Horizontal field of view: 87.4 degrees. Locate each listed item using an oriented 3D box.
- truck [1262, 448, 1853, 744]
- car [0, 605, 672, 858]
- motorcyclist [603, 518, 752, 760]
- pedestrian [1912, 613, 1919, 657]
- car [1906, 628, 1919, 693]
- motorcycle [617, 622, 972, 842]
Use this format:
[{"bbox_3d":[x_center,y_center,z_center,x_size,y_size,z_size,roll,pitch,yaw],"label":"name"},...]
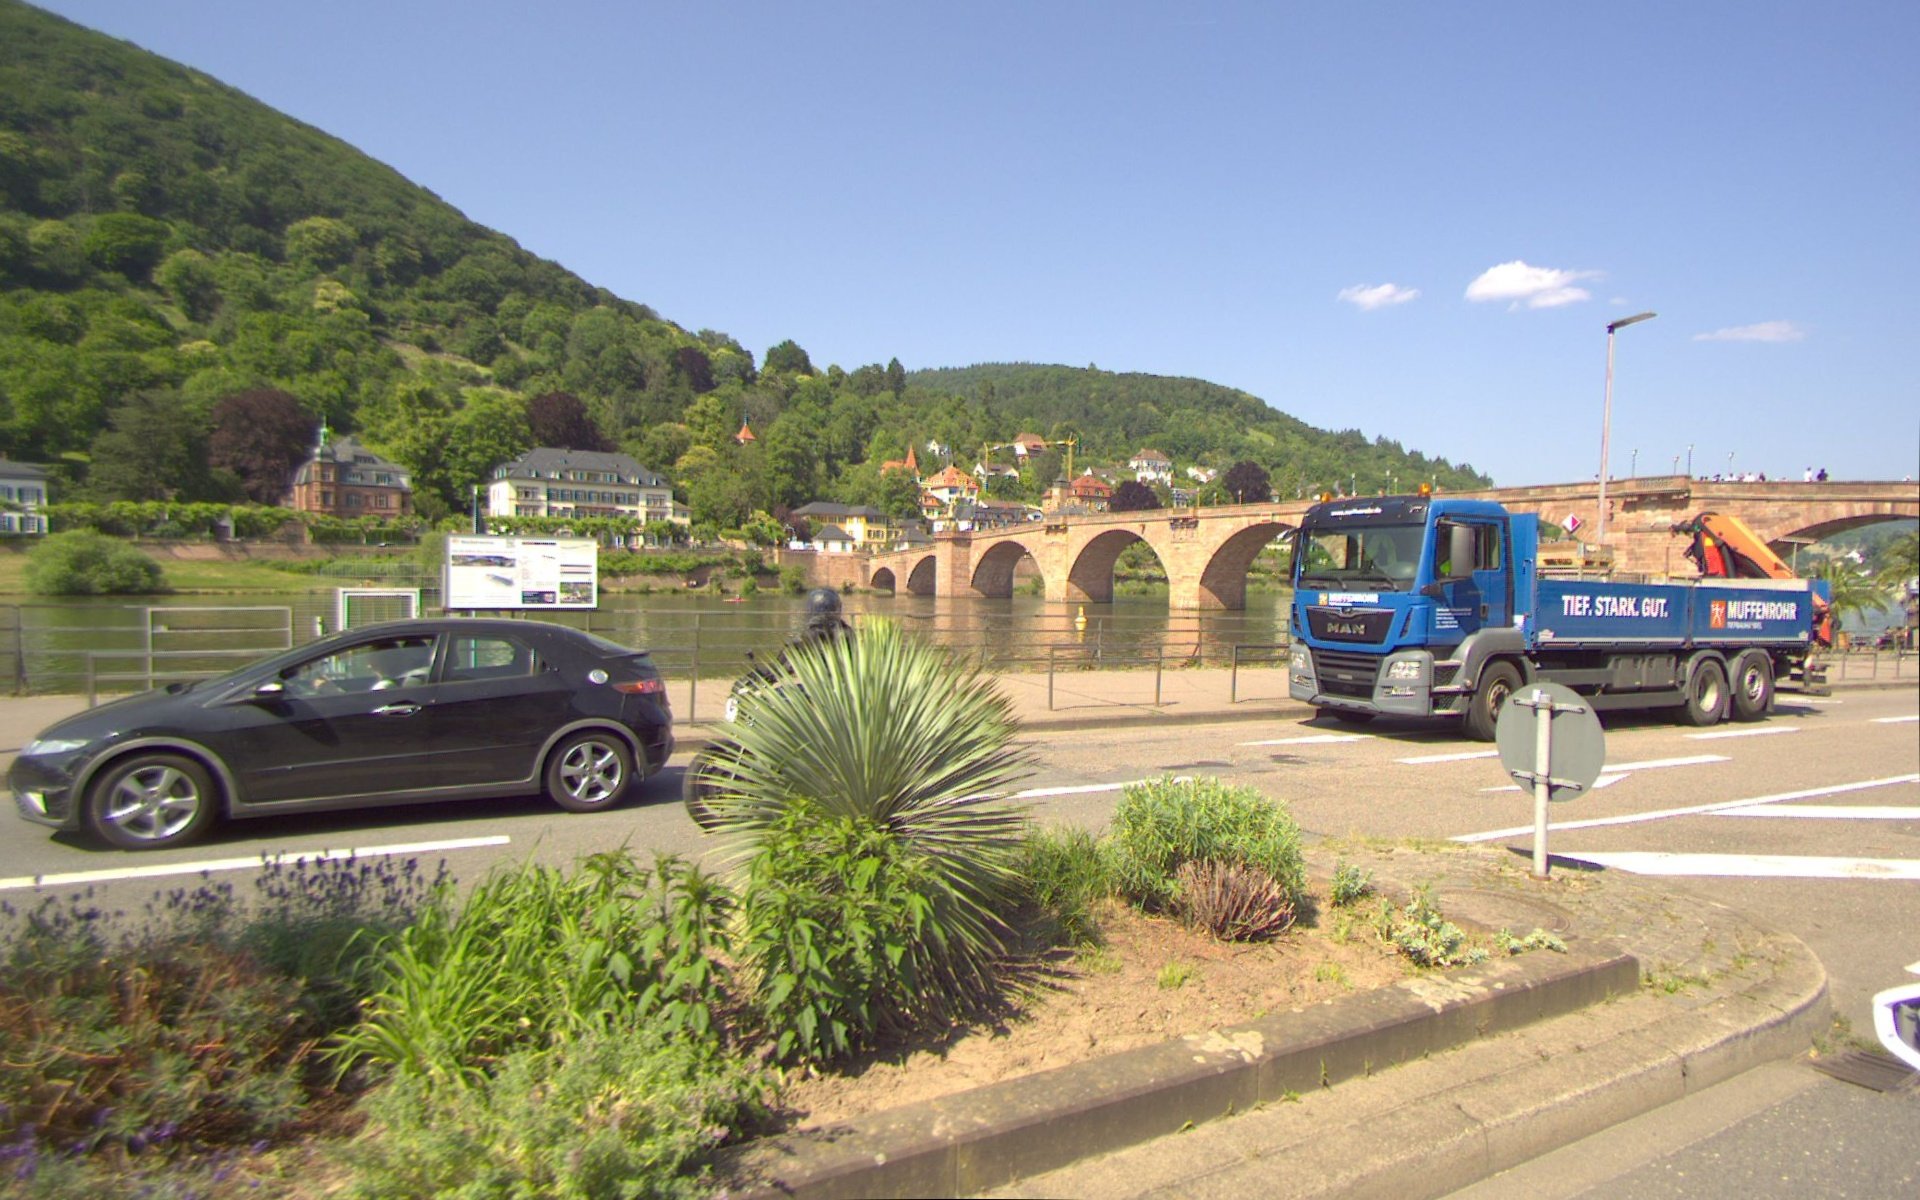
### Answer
[{"bbox_3d":[9.767,0.027,15.718,10.968,3.523,2.631,1,0,-28],"label":"truck"},{"bbox_3d":[-4.366,0.818,7.461,4.029,1.455,1.651,1,0,-27],"label":"car"},{"bbox_3d":[-1.949,0.251,6.908,0.850,1.547,0.699,1,1,-27],"label":"motorcyclist"},{"bbox_3d":[38.419,1.411,39.679,0.780,1.714,0.846,1,2,13],"label":"pedestrian"},{"bbox_3d":[23.608,1.423,22.978,3.949,1.463,1.769,2,0,-30],"label":"car"},{"bbox_3d":[-1.185,0.887,7.430,2.479,1.405,0.723,1,0,-27],"label":"motorcycle"}]
